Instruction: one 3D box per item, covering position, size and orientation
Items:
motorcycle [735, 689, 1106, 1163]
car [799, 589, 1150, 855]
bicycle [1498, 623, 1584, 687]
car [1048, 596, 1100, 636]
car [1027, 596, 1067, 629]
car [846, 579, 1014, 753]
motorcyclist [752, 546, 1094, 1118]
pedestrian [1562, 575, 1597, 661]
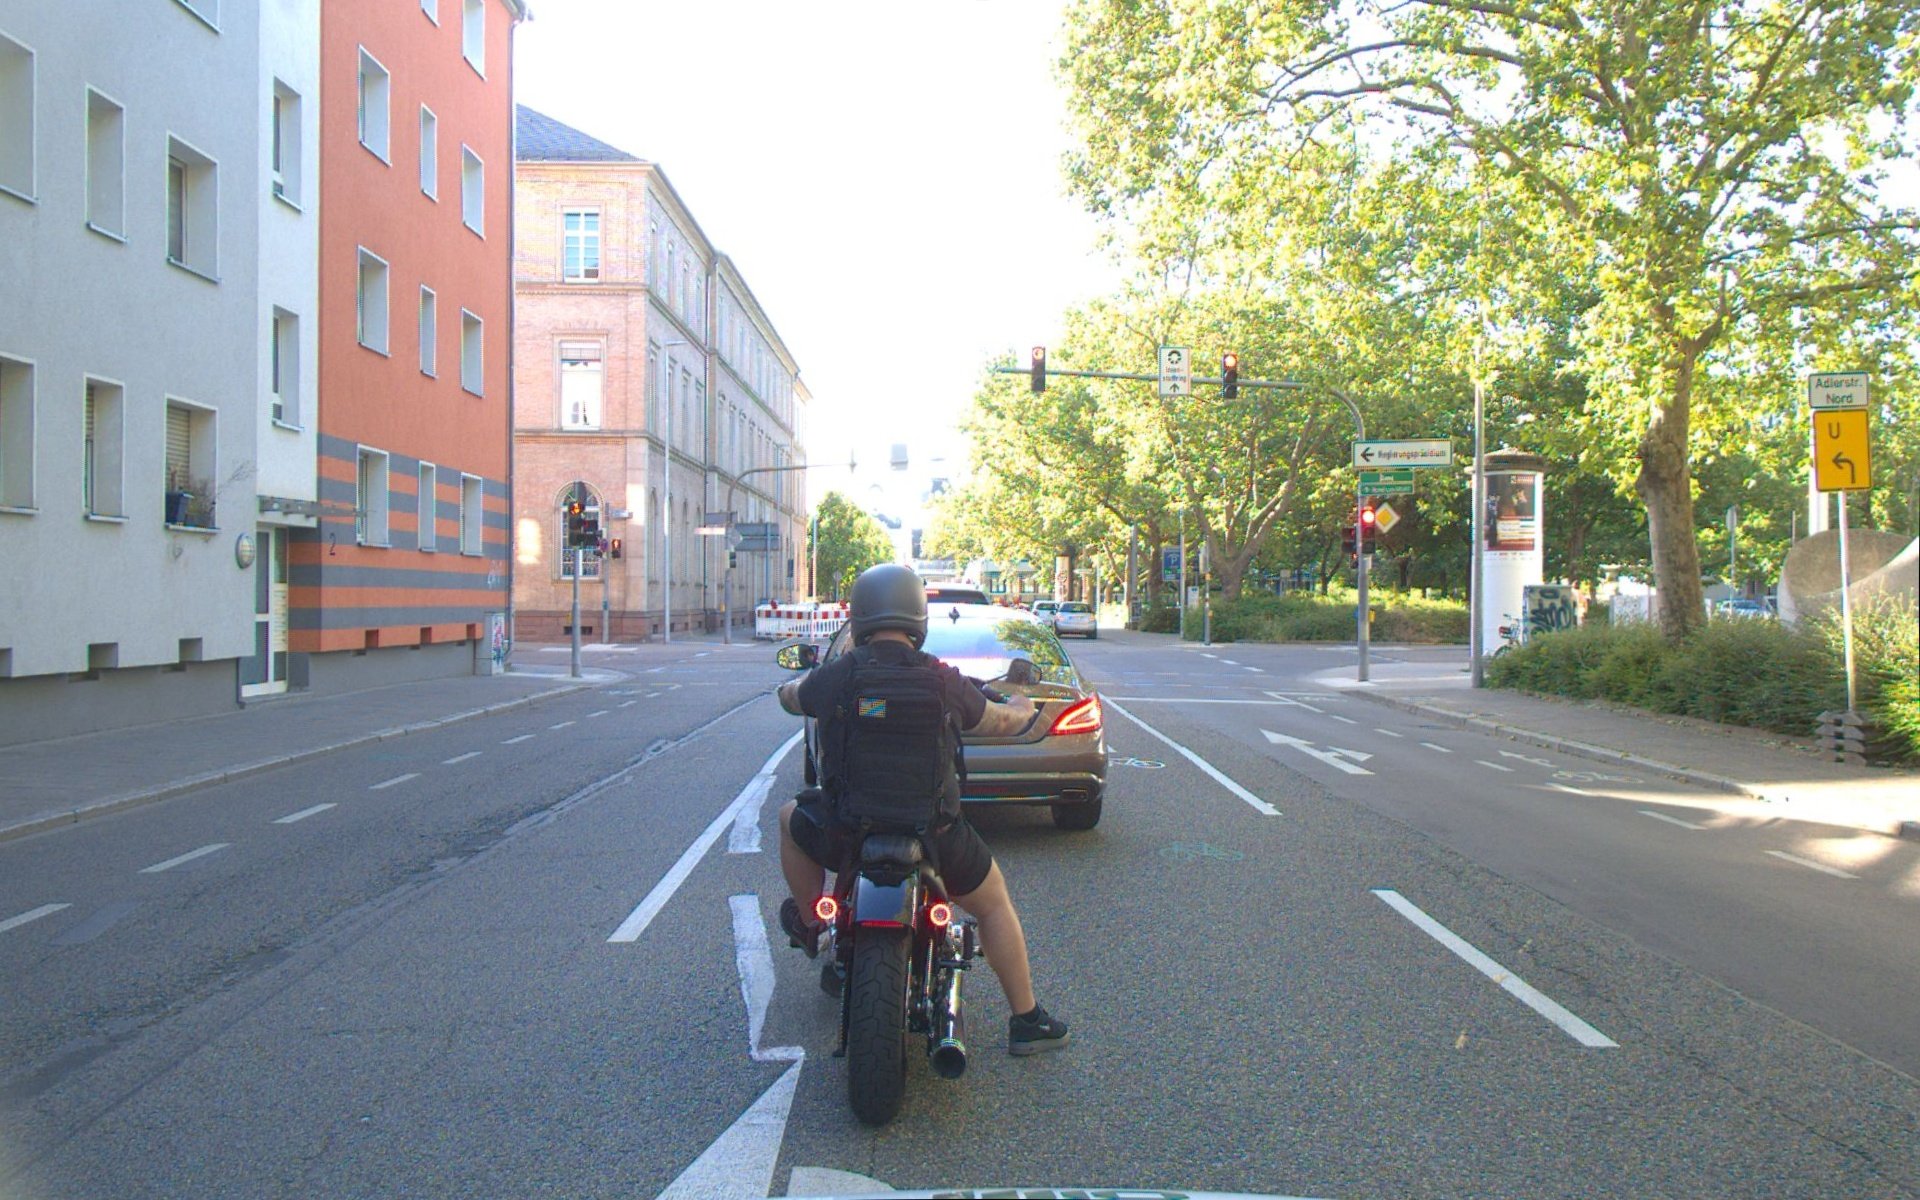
[{"bbox_3d":[-0.120,0.920,5.564,0.969,1.097,2.451,0,0,-1],"label":"motorcycle"},{"bbox_3d":[-0.115,0.678,11.603,1.909,1.498,4.355,0,0,-7],"label":"car"},{"bbox_3d":[9.746,0.919,27.767,1.324,1.041,0.363,0,0,0],"label":"bicycle"},{"bbox_3d":[4.456,0.611,65.123,1.784,1.506,3.908,-1,0,0],"label":"car"},{"bbox_3d":[4.212,0.609,80.518,1.817,1.512,3.908,1,0,1],"label":"car"},{"bbox_3d":[-0.337,0.613,17.767,1.580,1.636,4.327,0,0,-2],"label":"car"},{"bbox_3d":[-0.115,0.657,5.409,0.969,1.625,1.403,0,0,-1],"label":"motorcyclist"},{"bbox_3d":[13.683,0.394,36.526,0.540,1.881,0.593,0,0,0],"label":"pedestrian"}]
